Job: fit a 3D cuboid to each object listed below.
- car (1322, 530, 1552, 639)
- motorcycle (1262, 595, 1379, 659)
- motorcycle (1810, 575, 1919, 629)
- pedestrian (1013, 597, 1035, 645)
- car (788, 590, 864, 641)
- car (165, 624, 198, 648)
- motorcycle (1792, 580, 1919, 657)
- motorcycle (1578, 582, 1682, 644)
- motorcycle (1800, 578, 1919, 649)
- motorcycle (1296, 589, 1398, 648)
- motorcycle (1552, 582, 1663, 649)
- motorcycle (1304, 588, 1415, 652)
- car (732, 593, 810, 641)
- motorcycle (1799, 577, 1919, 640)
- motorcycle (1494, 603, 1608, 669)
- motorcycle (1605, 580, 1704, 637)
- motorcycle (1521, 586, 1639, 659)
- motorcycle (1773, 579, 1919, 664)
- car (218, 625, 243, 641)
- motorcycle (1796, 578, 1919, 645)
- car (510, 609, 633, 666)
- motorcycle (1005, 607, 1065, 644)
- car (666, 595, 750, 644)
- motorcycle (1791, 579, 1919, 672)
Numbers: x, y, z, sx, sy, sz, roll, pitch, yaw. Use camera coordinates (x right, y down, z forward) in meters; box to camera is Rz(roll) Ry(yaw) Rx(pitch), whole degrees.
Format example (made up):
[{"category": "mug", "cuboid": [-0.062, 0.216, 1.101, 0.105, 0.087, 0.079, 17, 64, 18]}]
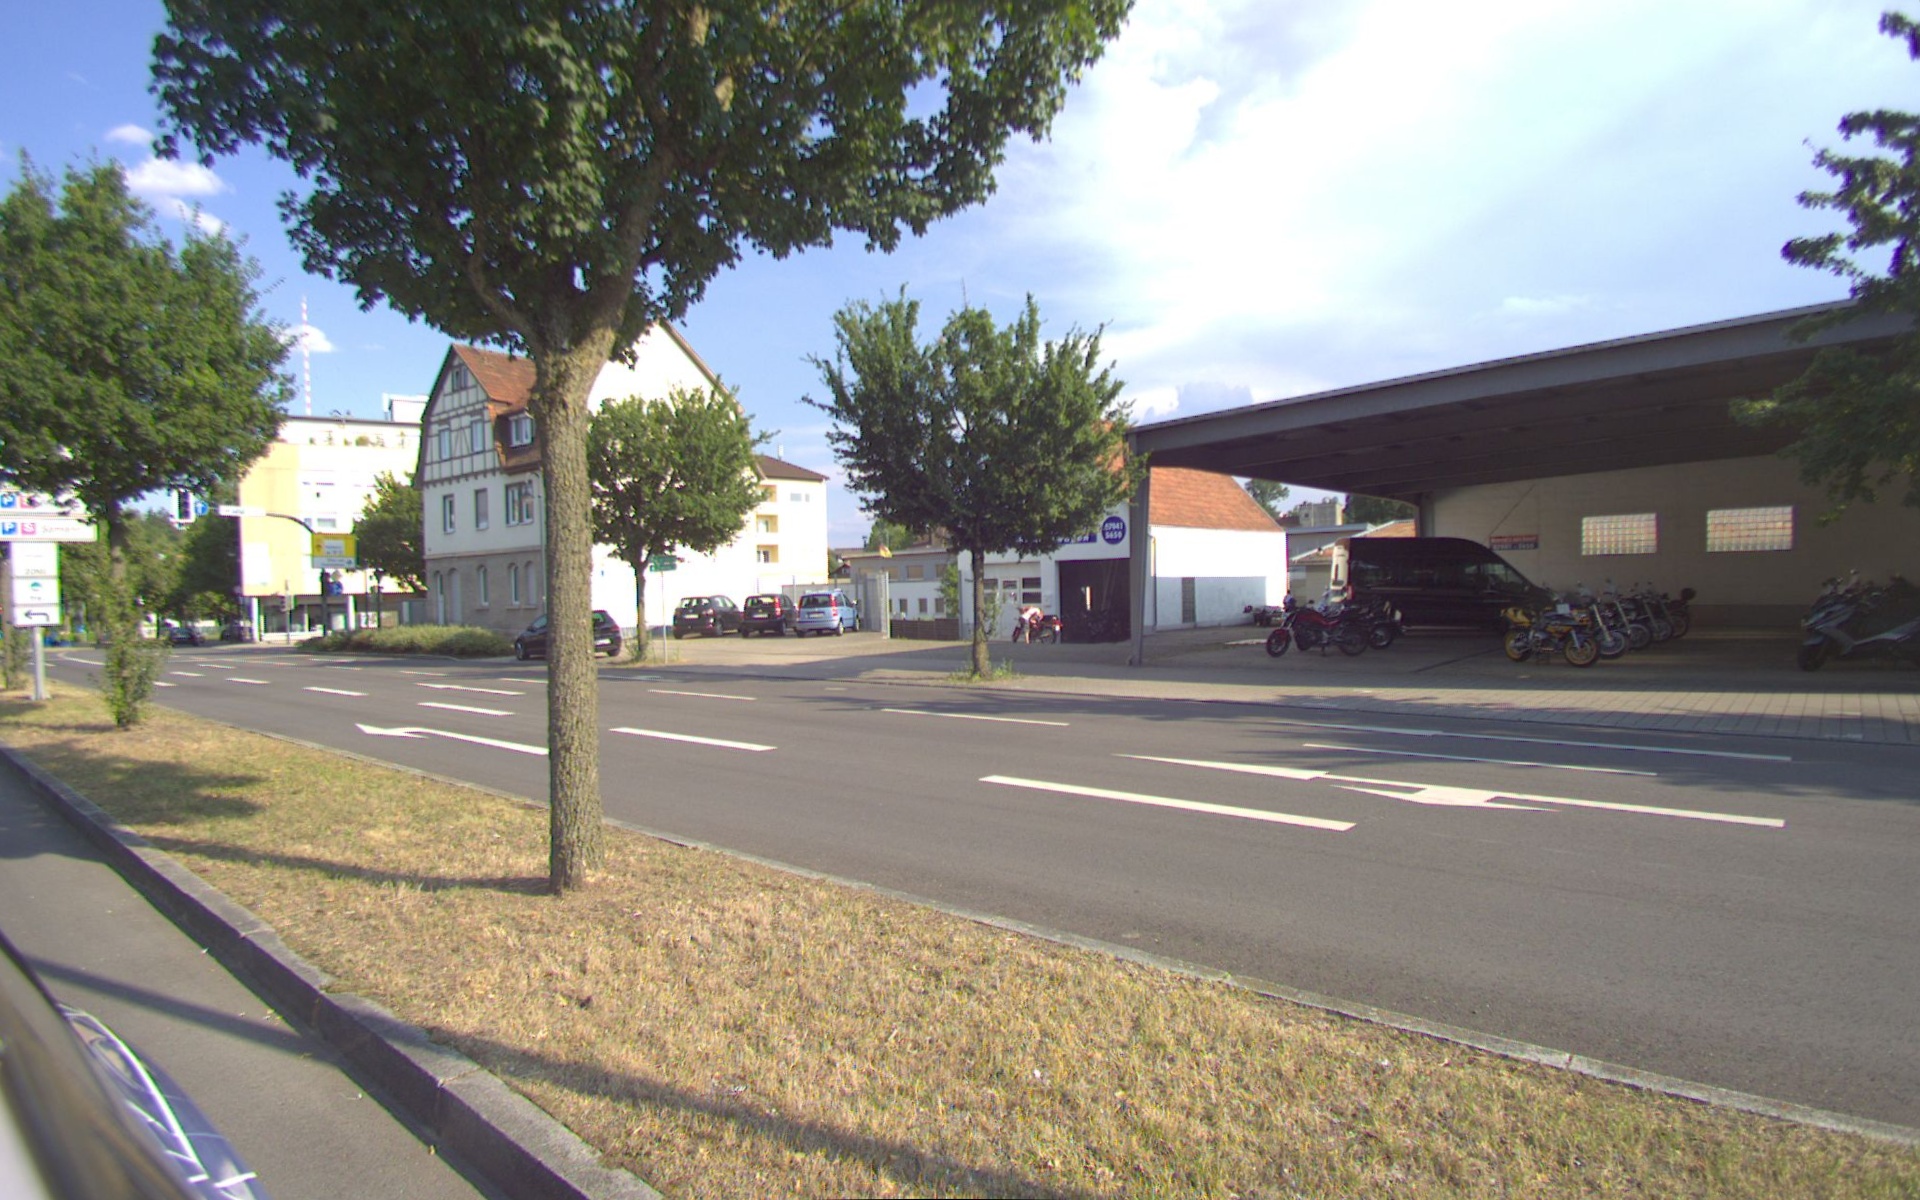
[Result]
[{"category": "car", "cuboid": [12.878, -0.385, 27.625, 5.221, 2.773, 1.996, -1, 0, 7]}, {"category": "motorcycle", "cuboid": [7.509, 0.556, 21.157, 2.202, 1.290, 0.629, -1, 0, 11]}, {"category": "motorcycle", "cuboid": [23.746, 0.065, 26.518, 2.103, 1.306, 0.628, -3, -1, 17]}, {"category": "pedestrian", "cuboid": [2.084, 0.669, 32.761, 0.485, 1.530, 0.496, -1, 0, 41]}, {"category": "car", "cuboid": [-4.670, 0.514, 35.674, 1.797, 1.512, 3.819, -3, 2, 5]}, {"category": "car", "cuboid": [-59.223, 2.722, 77.014, 1.753, 1.706, 4.010, -1, 0, -35]}, {"category": "motorcycle", "cuboid": [16.543, 0.334, 18.345, 2.103, 1.306, 0.628, -3, -1, 17]}, {"category": "motorcycle", "cuboid": [15.549, 0.296, 23.576, 0.621, 1.347, 2.269, -1, 0, -9]}, {"category": "motorcycle", "cuboid": [18.057, 0.263, 19.985, 2.103, 1.306, 0.628, -3, -1, 17]}, {"category": "motorcycle", "cuboid": [9.391, 0.446, 24.604, 2.198, 1.372, 0.630, -1, 0, 5]}, {"category": "motorcycle", "cuboid": [13.876, 0.318, 21.766, 0.621, 1.347, 2.269, -1, 0, -9]}, {"category": "motorcycle", "cuboid": [8.969, 0.445, 22.801, 2.198, 1.372, 0.630, -1, 0, 5]}, {"category": "car", "cuboid": [-6.909, 0.579, 37.304, 1.797, 1.512, 3.819, -3, 2, 5]}, {"category": "motorcycle", "cuboid": [20.241, 0.200, 22.641, 2.103, 1.306, 0.628, -3, -1, 17]}, {"category": "motorcycle", "cuboid": [10.543, 0.614, 18.148, 0.621, 1.095, 2.038, -1, 0, -7]}, {"category": "motorcycle", "cuboid": [17.303, 0.213, 25.300, 0.621, 1.347, 2.269, -1, 0, -9]}, {"category": "motorcycle", "cuboid": [12.171, 0.432, 19.953, 0.621, 1.347, 2.269, -1, 0, -9]}, {"category": "motorcycle", "cuboid": [14.925, 0.356, 16.773, 2.103, 1.306, 0.628, -3, -1, 17]}, {"category": "car", "cuboid": [-85.175, 3.840, 118.234, 1.752, 1.706, 4.013, -1, 0, -28]}, {"category": "motorcycle", "cuboid": [19.047, 0.250, 21.286, 2.103, 1.306, 0.628, -3, -1, 17]}, {"category": "car", "cuboid": [-11.588, 1.076, 30.073, 3.823, 1.462, 1.795, -1, 2, 42]}, {"category": "motorcycle", "cuboid": [2.446, 0.832, 33.207, 1.974, 1.194, 0.577, -1, 0, 41]}, {"category": "car", "cuboid": [-9.310, 0.684, 37.696, 1.797, 1.512, 3.819, -3, 2, 5]}, {"category": "motorcycle", "cuboid": [13.873, 0.371, 15.112, 2.103, 1.306, 0.628, -3, -1, 17]}]
